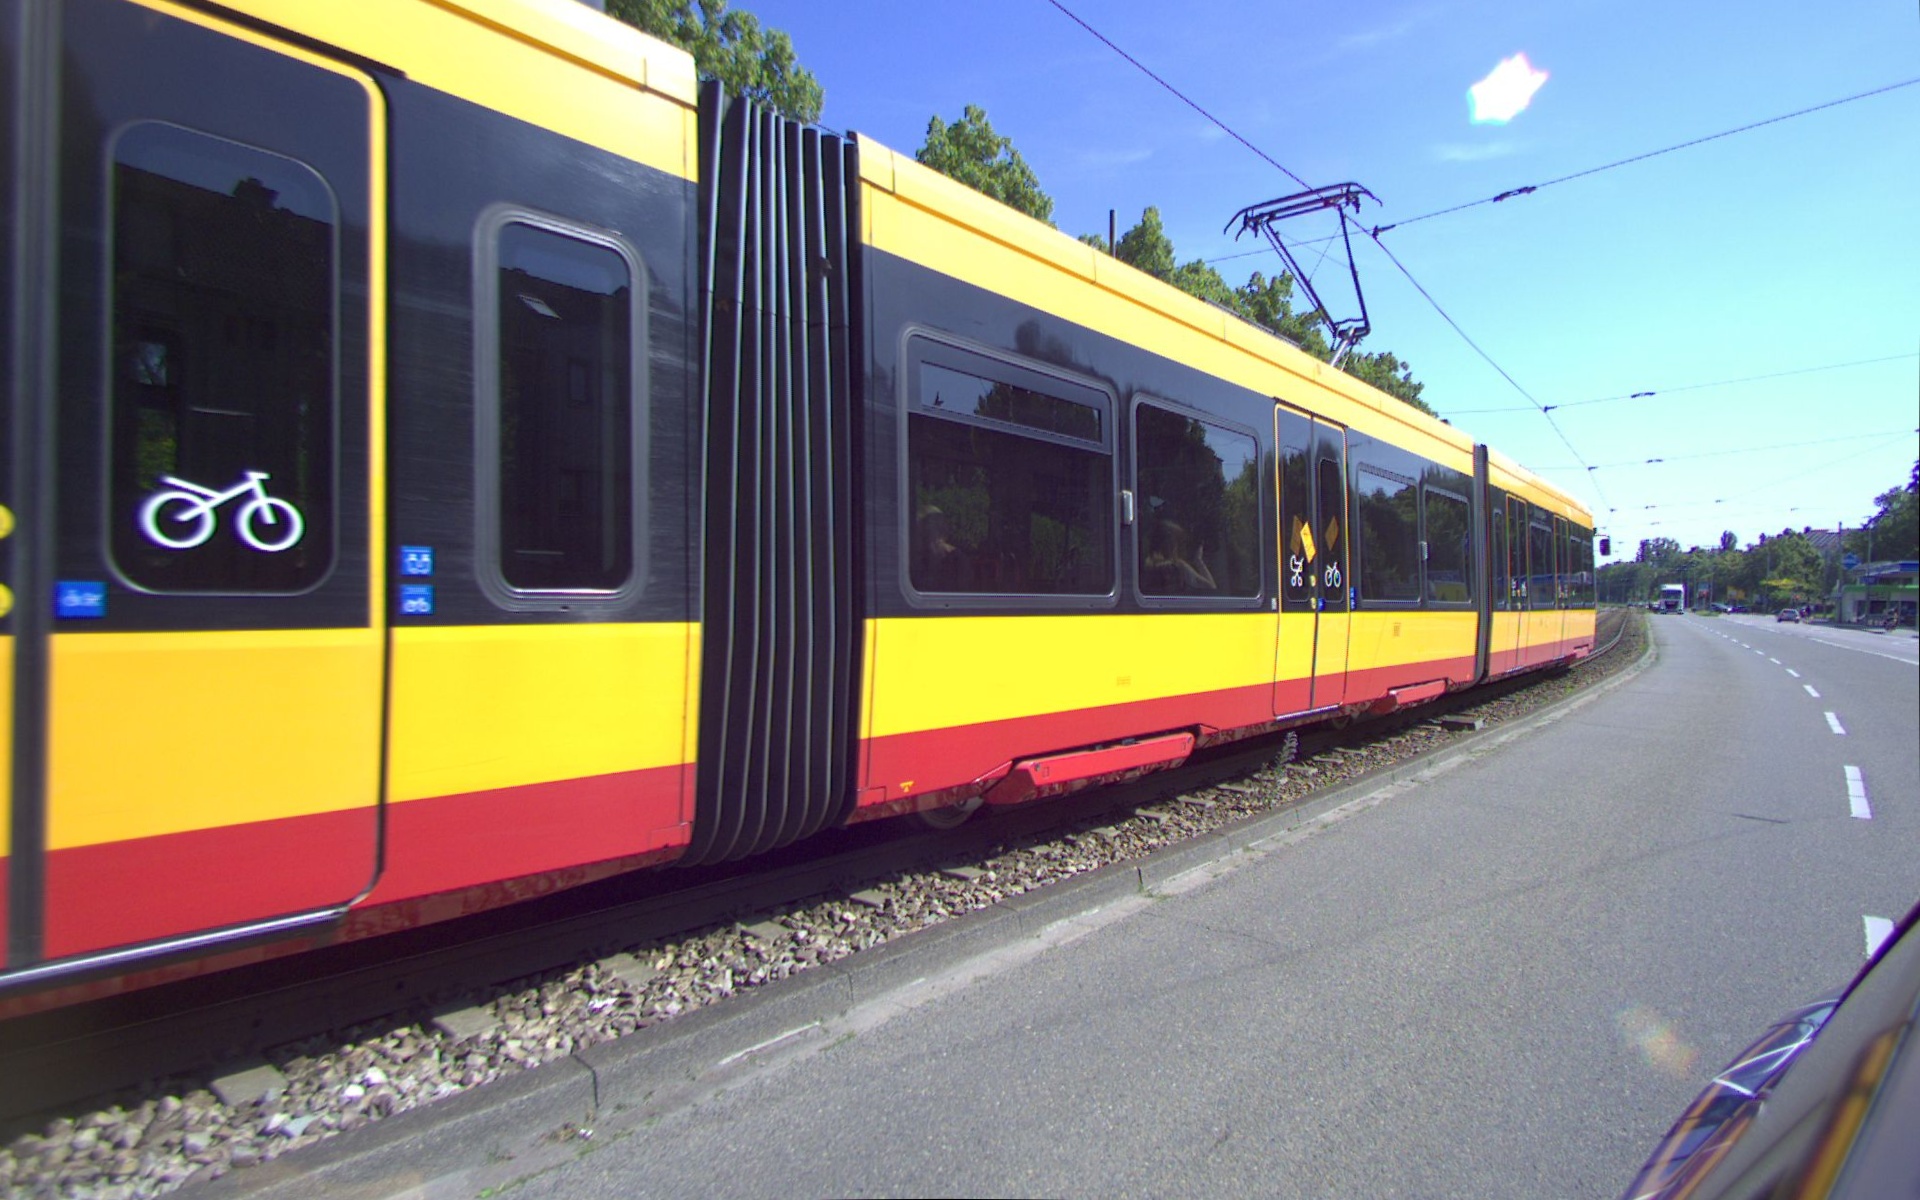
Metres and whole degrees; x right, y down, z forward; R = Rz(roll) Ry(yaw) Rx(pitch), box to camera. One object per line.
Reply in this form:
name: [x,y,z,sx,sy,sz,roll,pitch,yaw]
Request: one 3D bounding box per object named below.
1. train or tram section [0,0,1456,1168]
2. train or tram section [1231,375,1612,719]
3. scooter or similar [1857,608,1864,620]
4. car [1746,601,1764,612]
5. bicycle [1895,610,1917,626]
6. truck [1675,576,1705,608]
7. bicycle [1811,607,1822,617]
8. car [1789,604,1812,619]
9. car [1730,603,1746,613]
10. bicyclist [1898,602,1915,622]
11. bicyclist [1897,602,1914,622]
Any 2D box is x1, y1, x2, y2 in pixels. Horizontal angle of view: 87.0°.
train or tram section: [0.281,-0.605,7.182,2.509,3.793,13.113,2,2,41]
train or tram section: [8.582,-0.630,17.063,2.508,3.793,13.120,2,2,39]
scooter or similar: [96.076,1.497,107.971,0.441,1.253,1.324,3,1,44]
car: [133.095,1.121,169.376,1.812,1.693,3.956,2,-1,30]
bicycle: [69.817,1.320,74.684,0.823,1.108,2.735,2,2,37]
truck: [99.096,-1.032,137.300,2.840,4.057,14.108,3,1,37]
bicycle: [114.887,1.621,135.708,0.935,1.190,2.182,3,1,36]
car: [88.748,1.225,106.925,1.656,1.438,4.250,3,2,38]
car: [142.565,1.403,185.413,1.812,1.693,3.956,2,-1,30]
bicyclist: [69.795,0.871,74.640,0.846,1.453,0.820,2,1,40]
bicyclist: [70.296,0.875,75.274,0.845,1.454,0.821,1,0,39]
